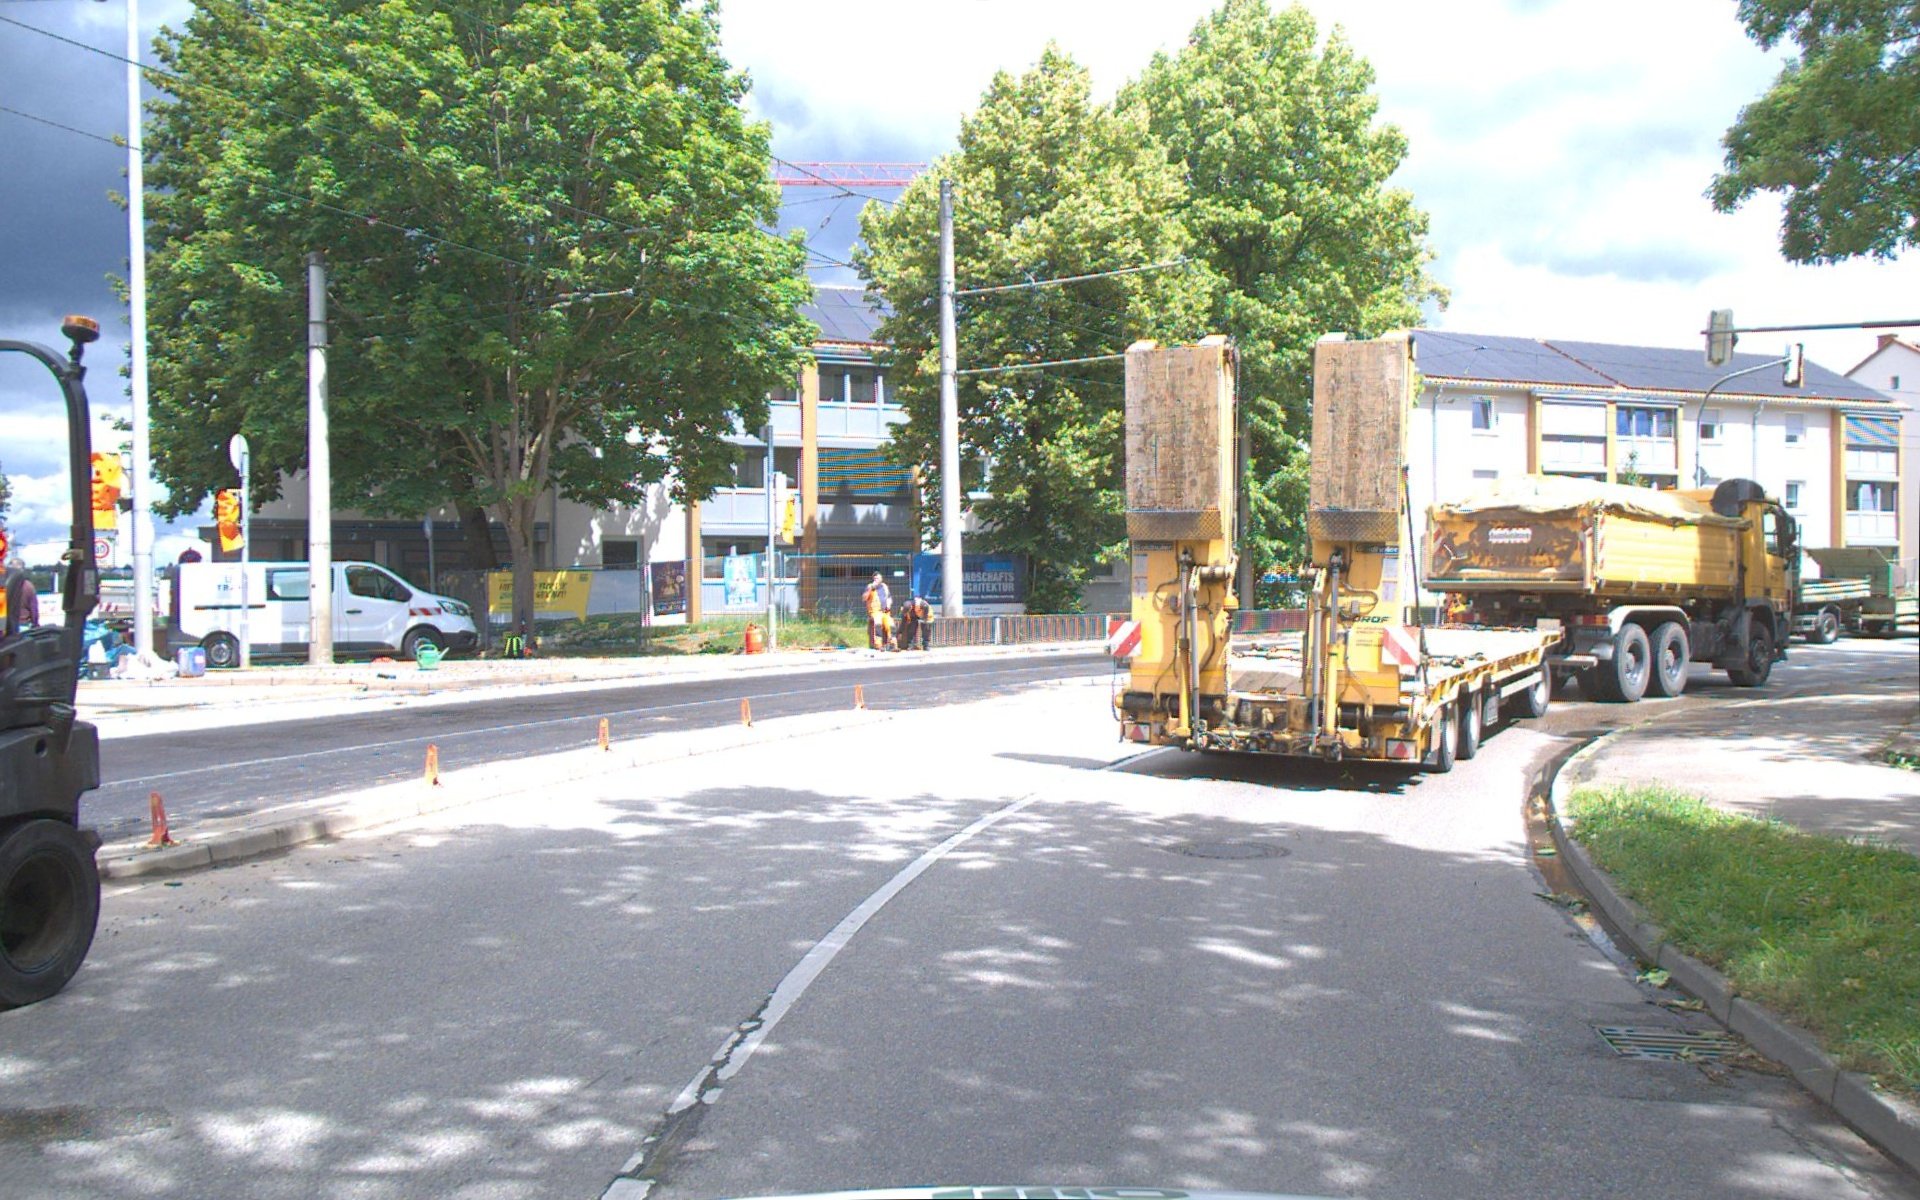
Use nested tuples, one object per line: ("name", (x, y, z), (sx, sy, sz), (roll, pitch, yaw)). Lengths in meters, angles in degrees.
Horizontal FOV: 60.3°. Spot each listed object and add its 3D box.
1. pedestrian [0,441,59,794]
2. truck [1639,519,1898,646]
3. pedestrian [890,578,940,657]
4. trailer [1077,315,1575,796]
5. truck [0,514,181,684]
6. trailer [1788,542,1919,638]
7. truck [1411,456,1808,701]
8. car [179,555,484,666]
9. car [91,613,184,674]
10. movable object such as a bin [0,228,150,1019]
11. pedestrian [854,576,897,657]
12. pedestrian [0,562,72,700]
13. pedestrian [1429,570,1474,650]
("pedestrian", (-3.640, 0.064, 5.835), (0.537, 1.238, 0.618), (-1, 0, 7))
("truck", (19.297, -0.493, 39.390), (6.316, 2.772, 2.641), (-1, 3, -33))
("pedestrian", (-0.914, 0.341, 33.278), (0.888, 1.560, 0.839), (-1, 0, -10))
("trailer", (4.618, -0.424, 17.921), (2.767, 3.585, 11.043), (2, 1, 25))
("truck", (-16.163, 0.062, 27.216), (5.451, 2.613, 2.419), (-2, 0, 0))
("trailer", (24.473, -0.329, 42.846), (6.170, 2.252, 2.641), (-1, 3, -33))
("truck", (10.204, -0.356, 25.496), (7.623, 3.222, 2.879), (-1, 2, -45))
("car", (-11.624, 0.202, 30.919), (5.154, 1.920, 1.989), (-1, -2, -19))
("car", (-21.300, 1.106, 42.967), (1.746, 1.484, 3.853), (-1, 0, -21))
("movable object such as a bin", (-3.886, 0.078, 5.223), (1.288, 2.639, 2.364), (0, 0, 7))
("pedestrian", (-1.690, 0.322, 32.989), (0.746, 1.568, 0.796), (-1, 0, -10))
("pedestrian", (-11.799, 0.376, 20.634), (0.906, 1.688, 0.875), (-1, 1, 4))
("pedestrian", (10.666, 0.219, 35.908), (0.692, 1.697, 0.825), (0, -2, 36))
